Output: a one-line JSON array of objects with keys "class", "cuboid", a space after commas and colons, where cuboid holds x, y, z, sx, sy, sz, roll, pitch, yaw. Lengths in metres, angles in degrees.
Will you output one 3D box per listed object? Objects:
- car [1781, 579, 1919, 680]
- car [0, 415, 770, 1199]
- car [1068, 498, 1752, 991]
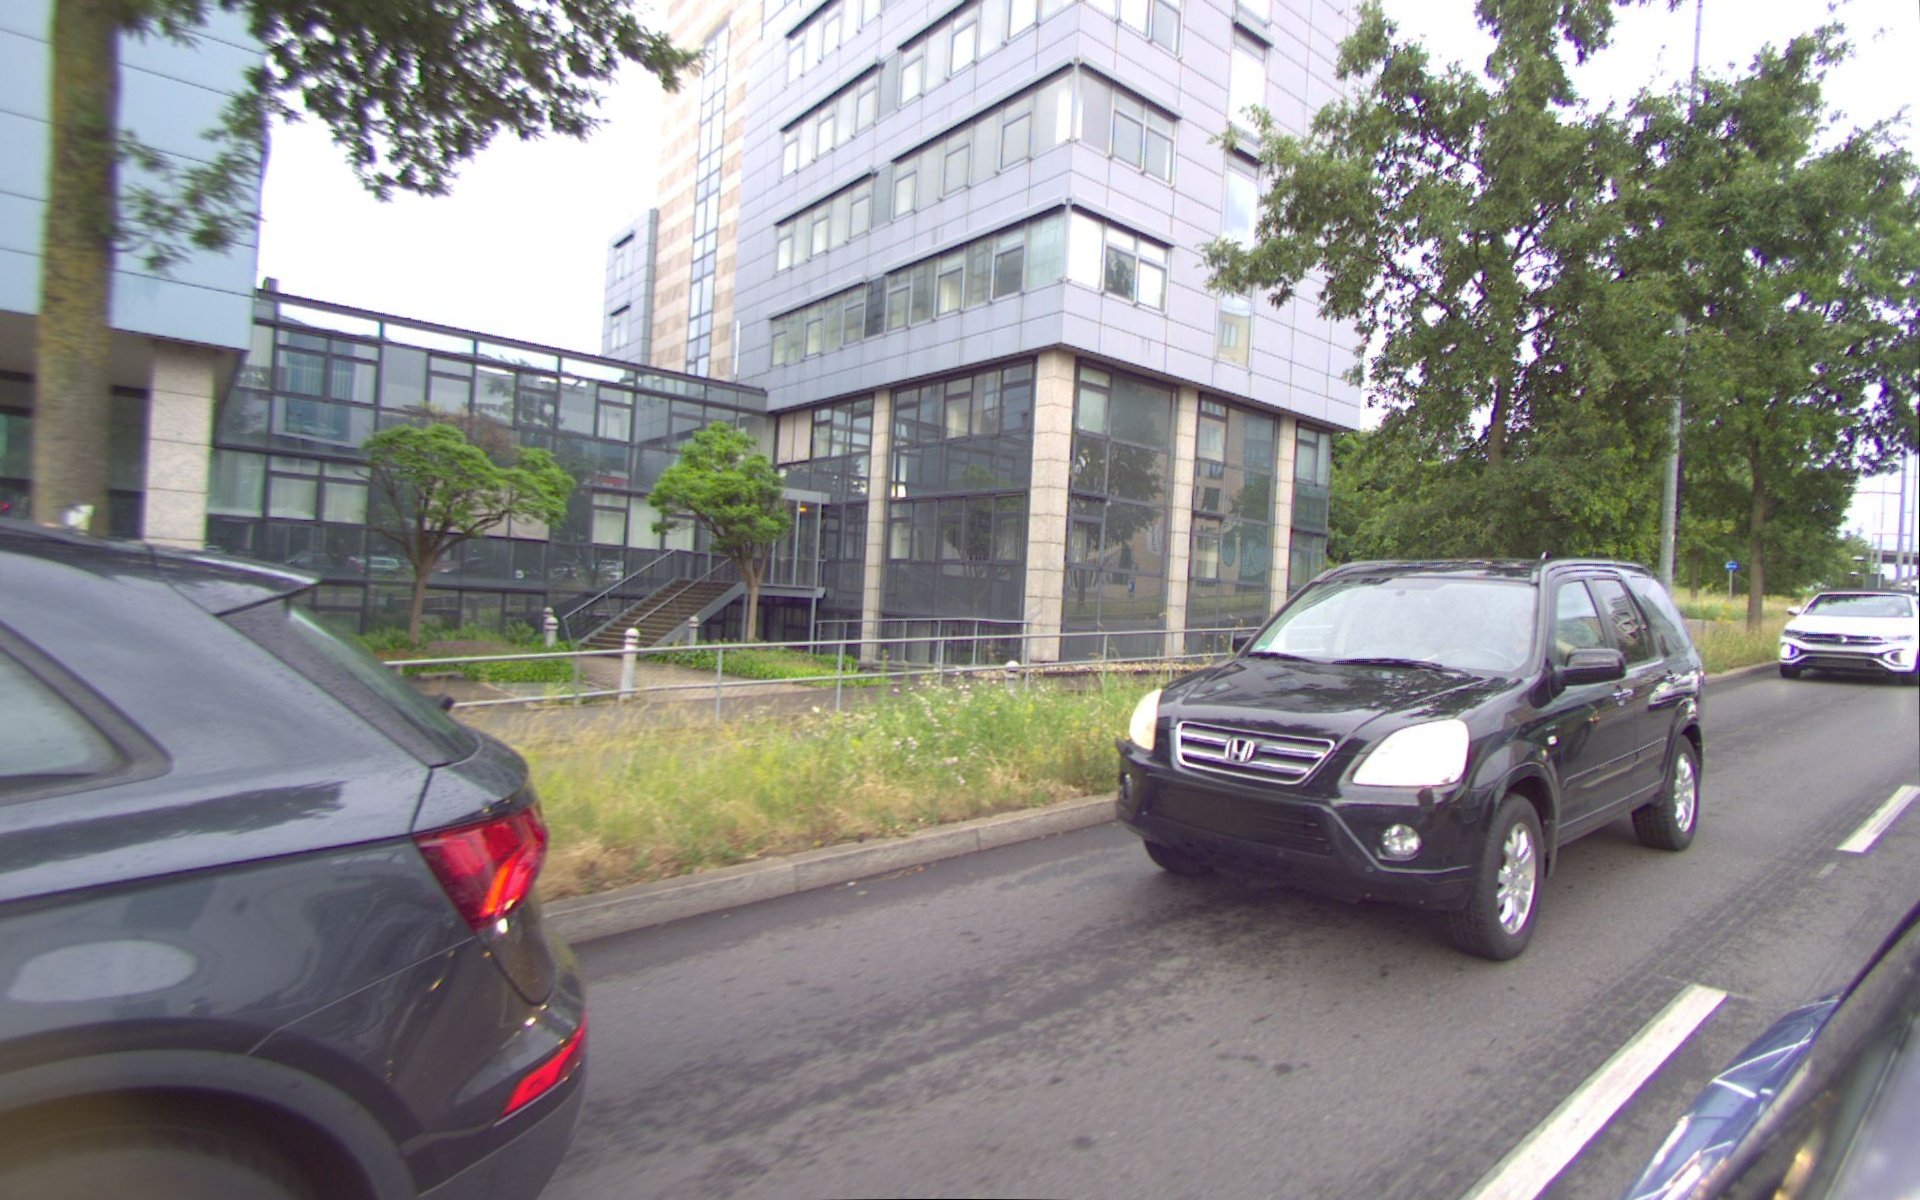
[{"class": "car", "cuboid": [15.533, 0.413, 17.137, 3.699, 1.522, 1.827, -1, 1, -39]}, {"class": "car", "cuboid": [-2.610, 0.584, 1.190, 4.392, 1.633, 1.821, -1, 1, -41]}, {"class": "car", "cuboid": [2.692, 0.450, 5.508, 4.262, 1.679, 1.758, -1, 1, -41]}]
